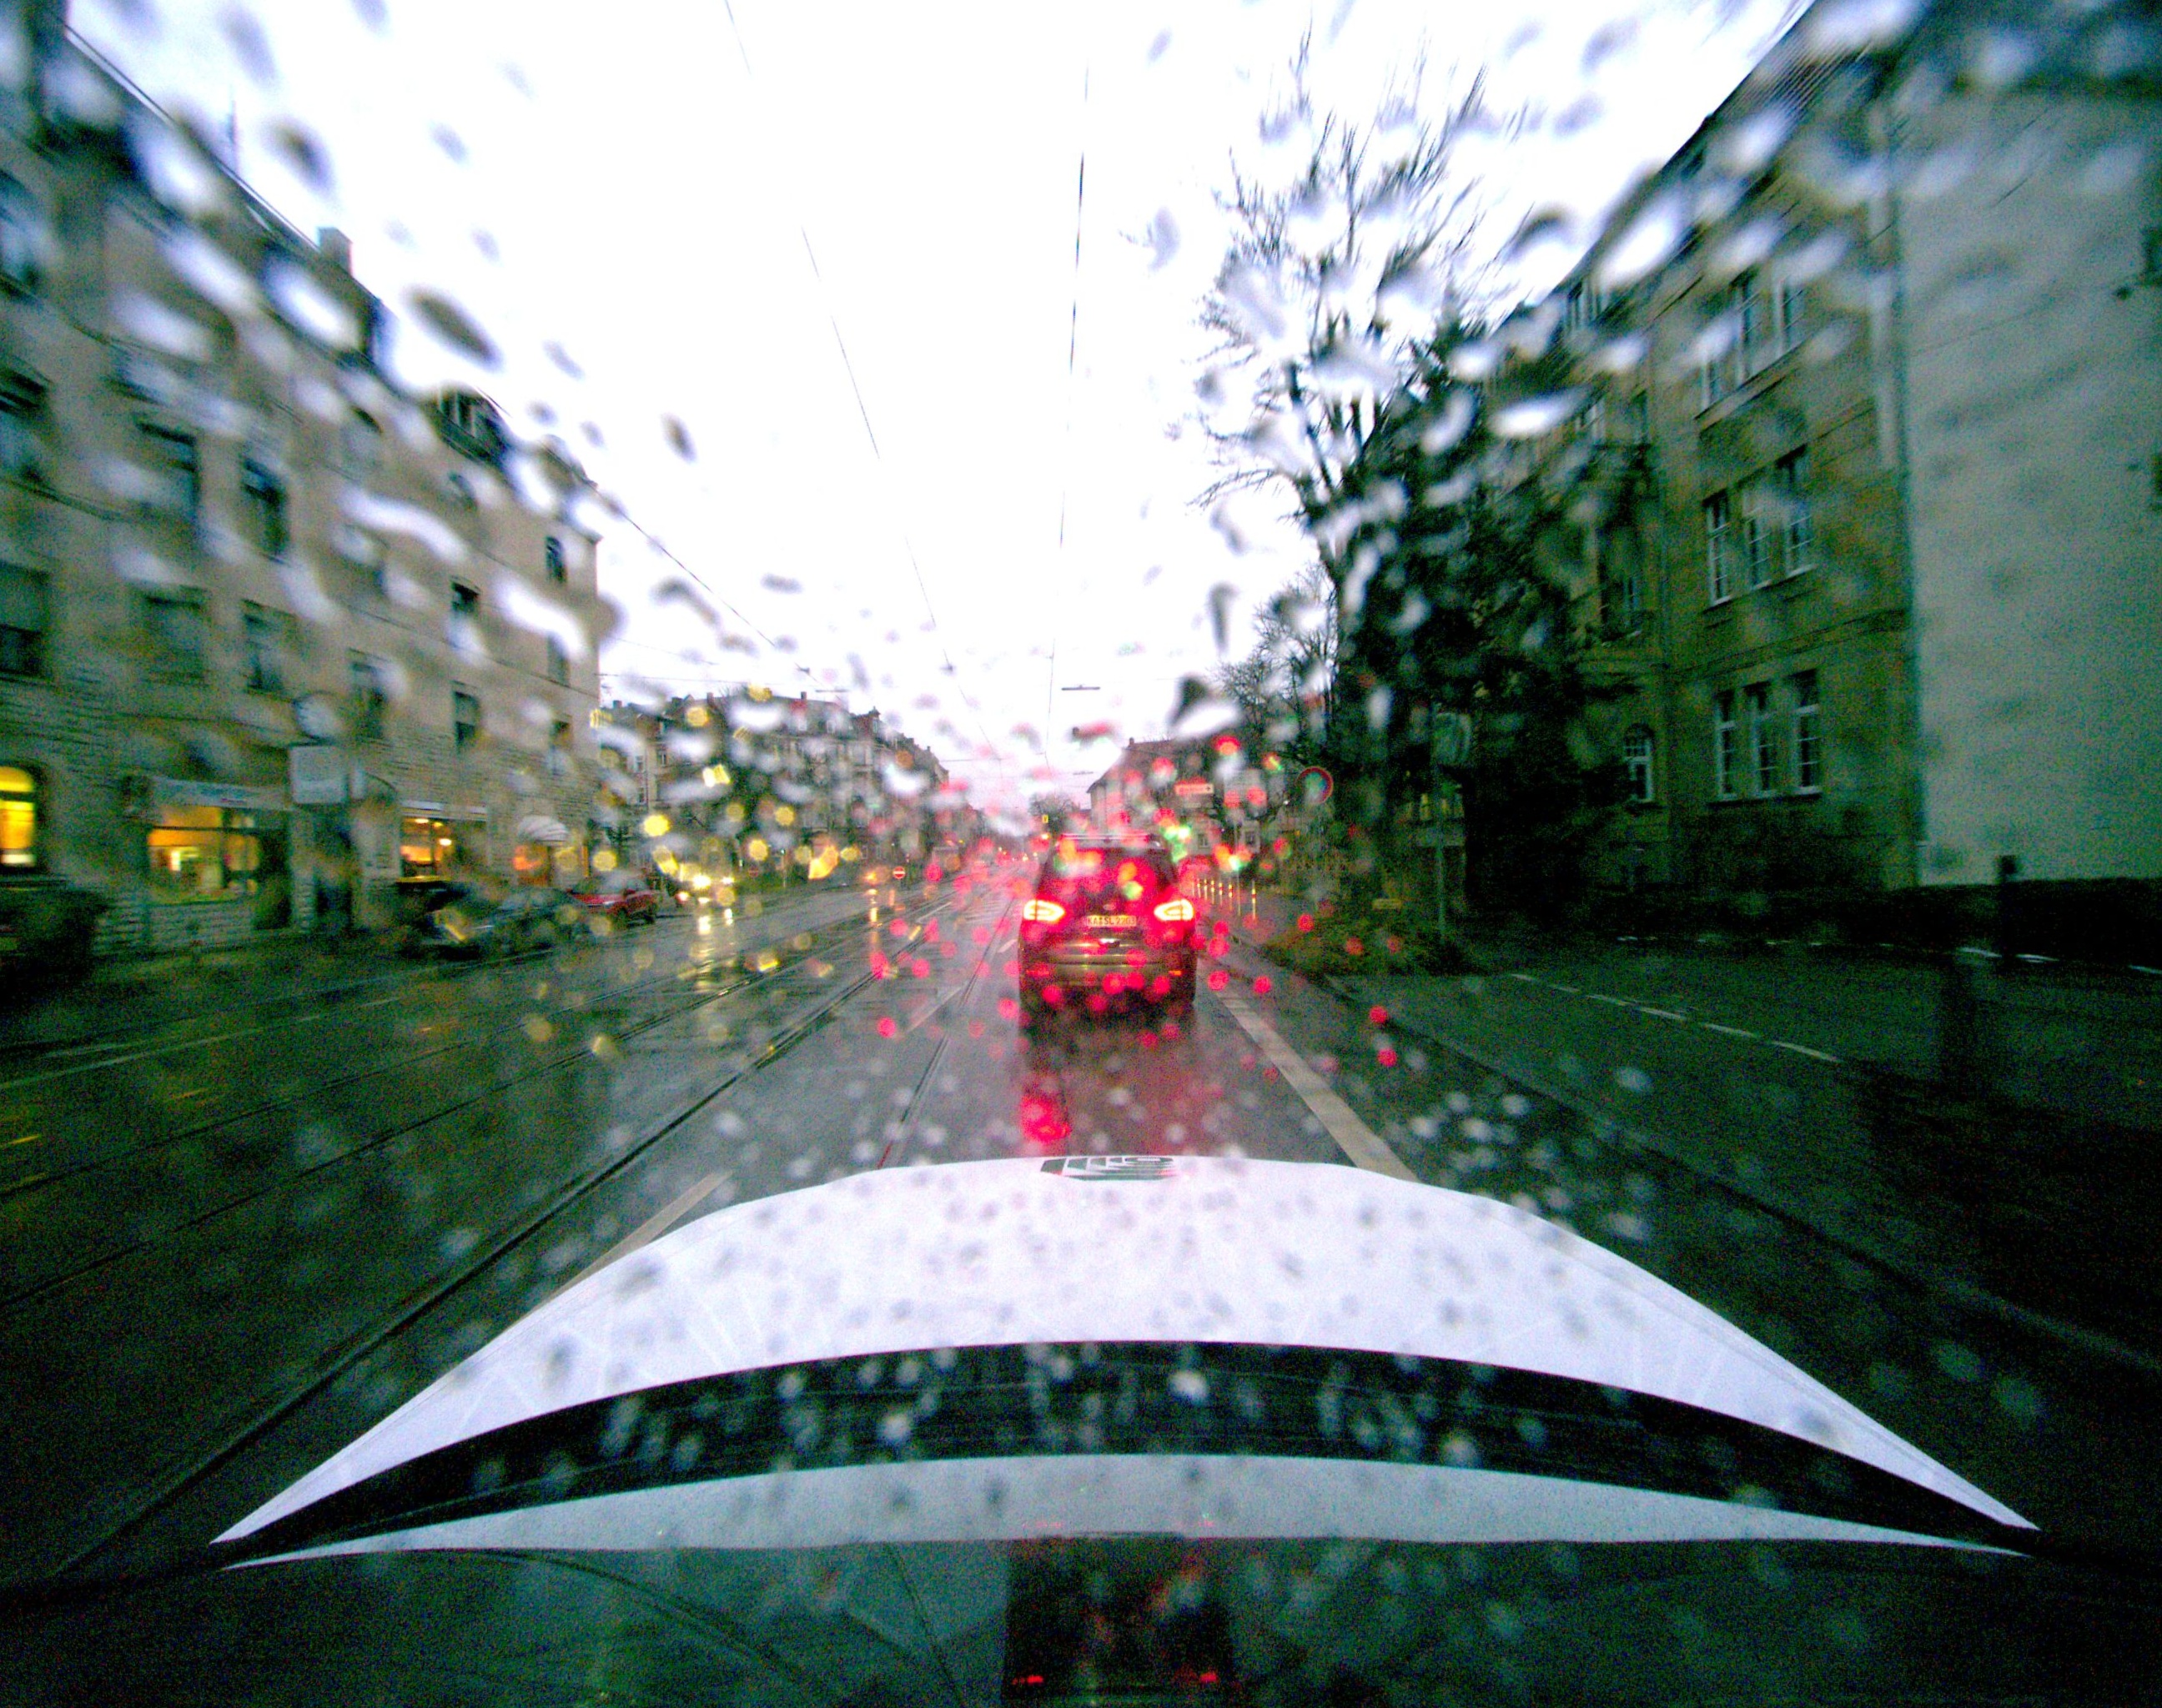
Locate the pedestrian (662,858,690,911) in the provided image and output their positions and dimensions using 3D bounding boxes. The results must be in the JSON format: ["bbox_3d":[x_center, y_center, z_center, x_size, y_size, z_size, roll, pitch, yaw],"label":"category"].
[{"bbox_3d":[-15.674,1.172,31.522,0.748,2.014,0.652,-2,-1,33],"label":"pedestrian"}]

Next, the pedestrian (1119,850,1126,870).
[{"bbox_3d":[4.239,0.576,82.798,0.594,2.014,0.631,-1,-1,1],"label":"pedestrian"}]

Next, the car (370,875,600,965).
[{"bbox_3d":[-13.025,1.352,18.267,1.983,1.645,4.622,3,-1,-5],"label":"car"}]

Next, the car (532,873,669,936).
[{"bbox_3d":[-14.021,1.417,24.056,2.036,1.552,4.020,2,0,-8],"label":"car"}]

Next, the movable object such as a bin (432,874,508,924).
[{"bbox_3d":[-18.062,1.315,24.126,1.291,1.367,1.251,-2,0,-3],"label":"movable object such as a bin"}]

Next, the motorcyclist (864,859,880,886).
[{"bbox_3d":[-12.615,1.115,49.213,0.845,1.548,1.010,-2,0,-13],"label":"motorcyclist"}]

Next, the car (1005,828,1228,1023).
[{"bbox_3d":[0.310,0.676,9.988,2.097,1.816,4.658,0,0,-1],"label":"car"}]

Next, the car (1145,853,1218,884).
[{"bbox_3d":[5.110,0.707,41.051,1.648,1.376,4.025,-2,0,40],"label":"car"}]

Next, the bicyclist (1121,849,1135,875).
[{"bbox_3d":[3.131,0.541,54.314,0.716,1.662,1.054,2,-1,-7],"label":"bicyclist"}]

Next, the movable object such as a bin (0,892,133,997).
[{"bbox_3d":[-15.495,1.319,12.122,1.264,1.420,1.249,-2,0,-3],"label":"movable object such as a bin"}]

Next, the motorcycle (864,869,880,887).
[{"bbox_3d":[-12.584,1.431,49.121,0.857,0.992,1.910,-2,0,-13],"label":"motorcycle"}]

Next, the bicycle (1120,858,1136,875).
[{"bbox_3d":[3.119,0.825,54.374,0.716,1.112,1.937,2,0,-7],"label":"bicycle"}]

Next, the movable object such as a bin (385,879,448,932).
[{"bbox_3d":[-18.489,1.413,22.678,0.897,1.377,1.005,-2,0,-3],"label":"movable object such as a bin"}]

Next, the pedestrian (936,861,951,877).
[{"bbox_3d":[-10.868,1.167,64.317,1.045,1.200,0.884,-1,-1,-2],"label":"pedestrian"}]

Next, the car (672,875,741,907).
[{"bbox_3d":[-21.611,2.122,46.950,3.948,1.673,2.035,-2,0,39],"label":"car"}]

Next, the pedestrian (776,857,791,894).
[{"bbox_3d":[-16.880,1.211,46.160,0.707,2.013,0.655,-2,0,-23],"label":"pedestrian"}]
